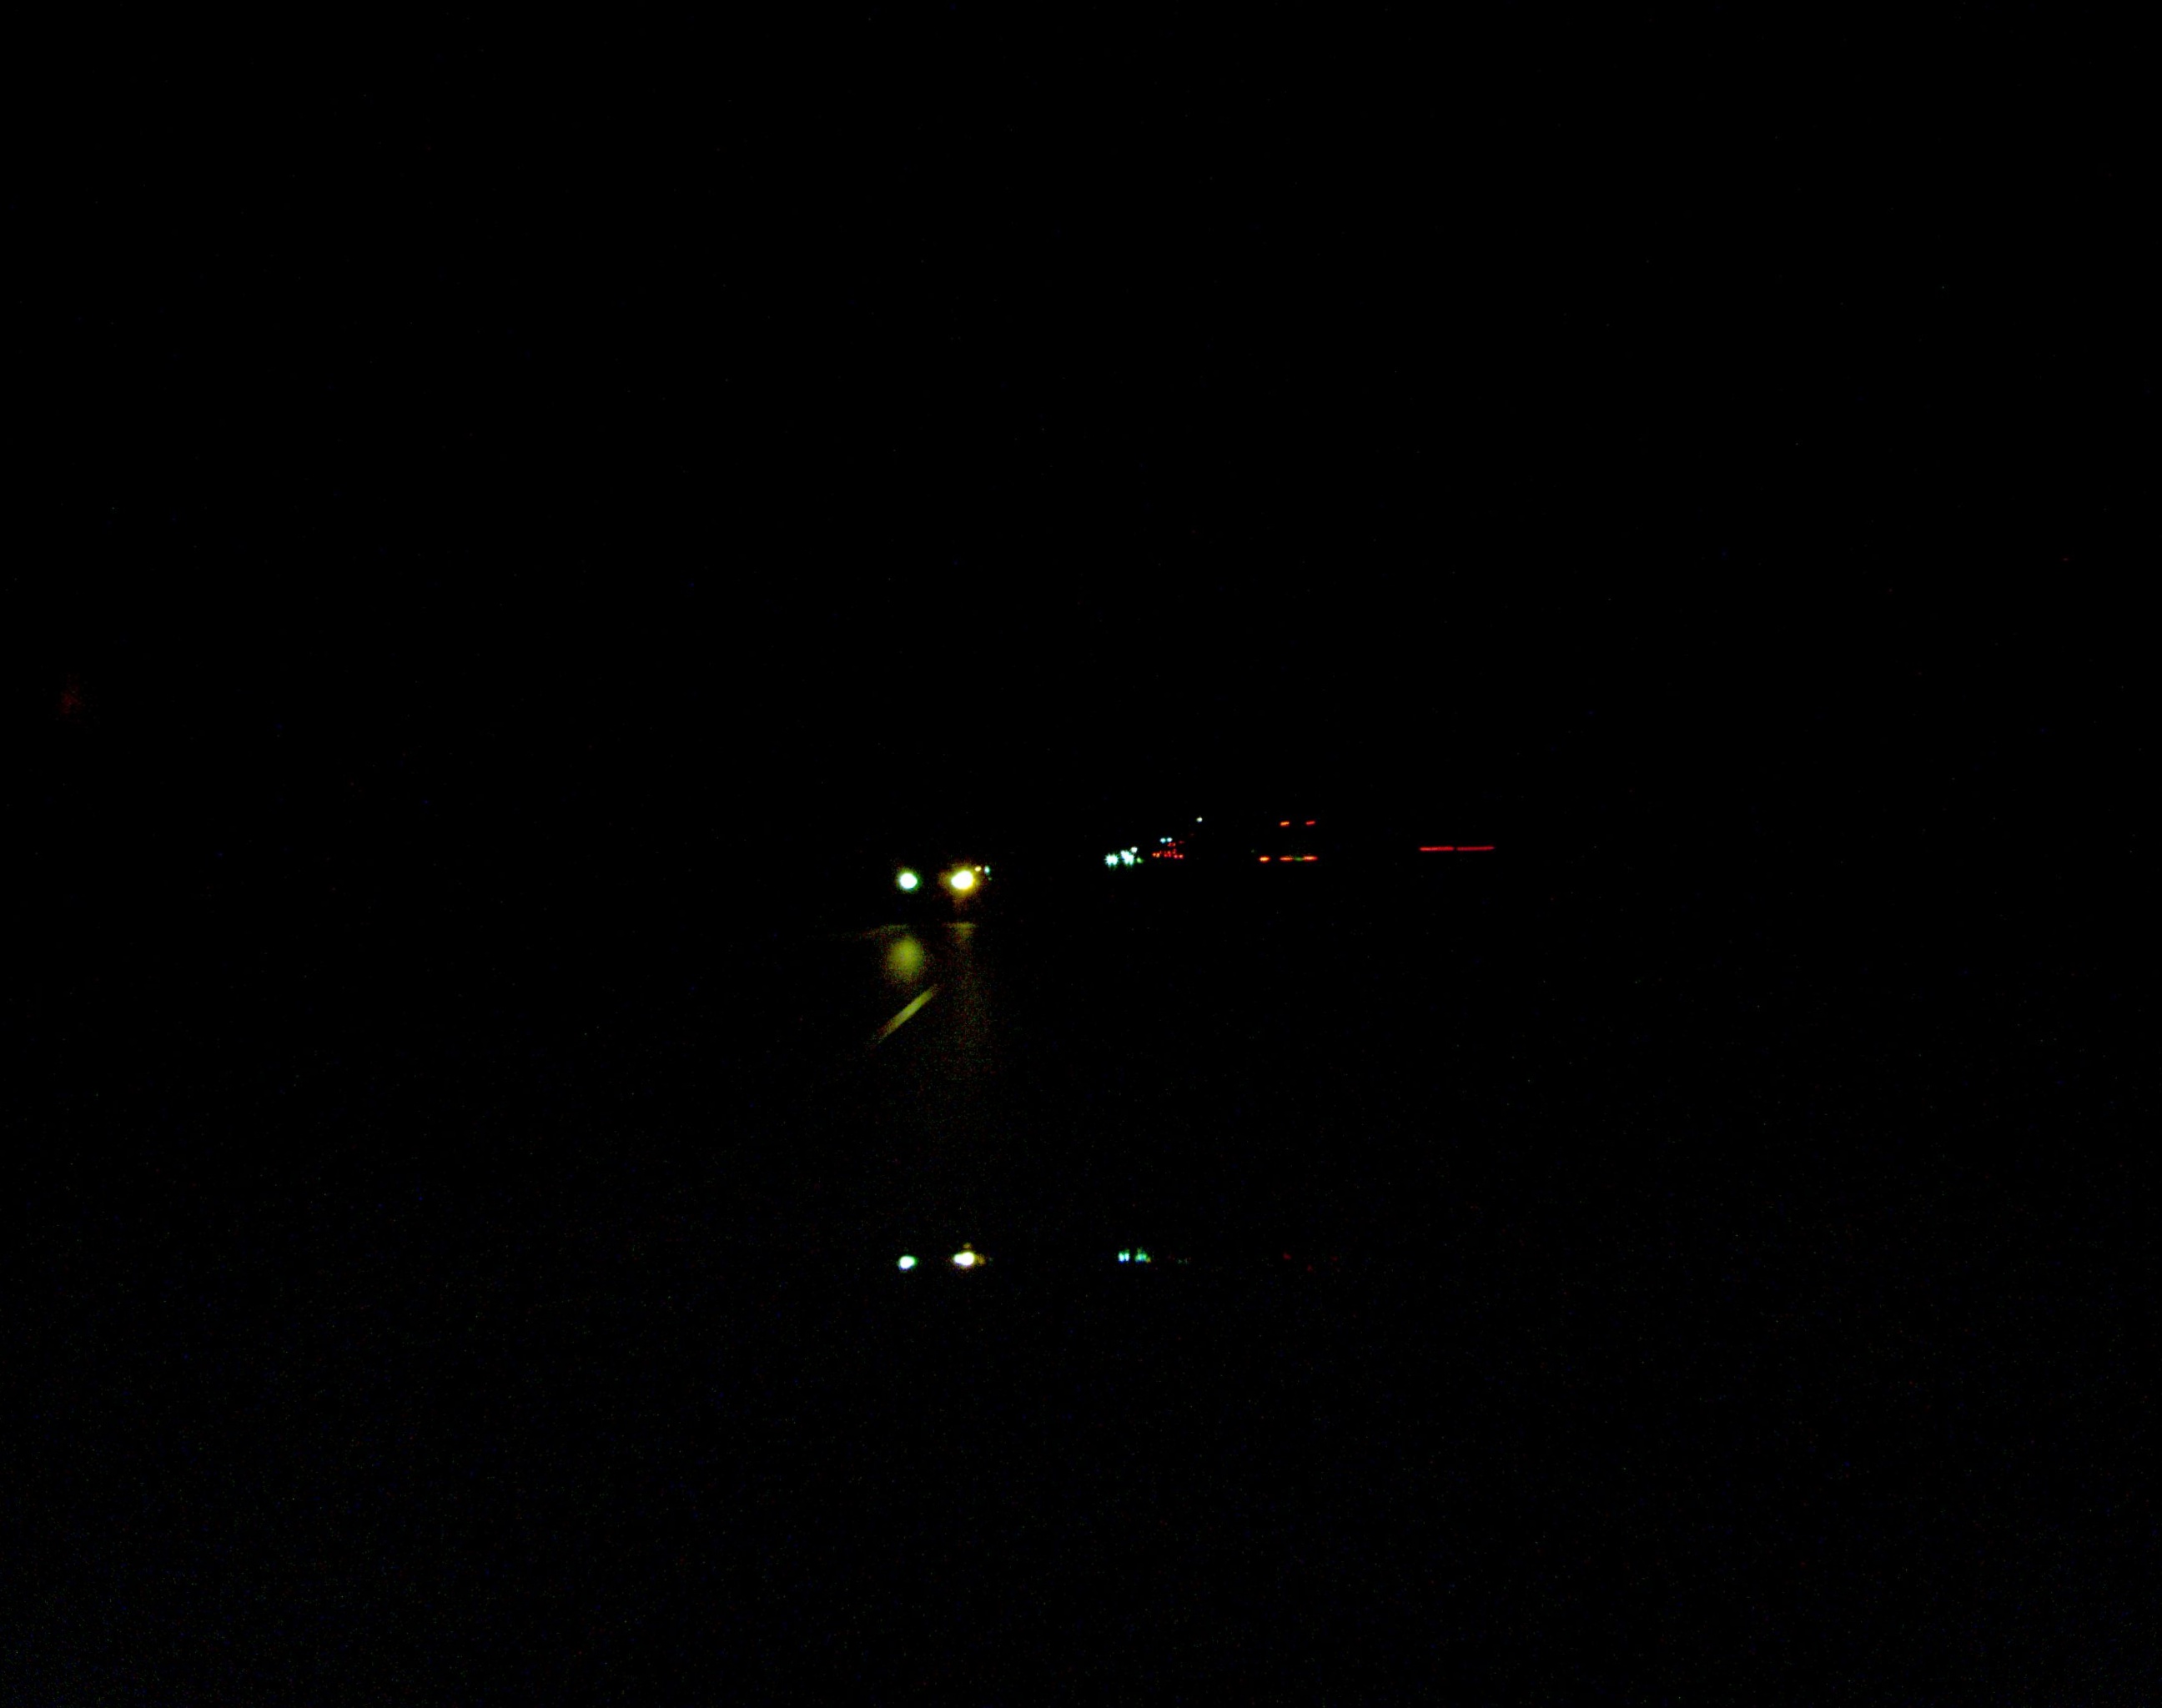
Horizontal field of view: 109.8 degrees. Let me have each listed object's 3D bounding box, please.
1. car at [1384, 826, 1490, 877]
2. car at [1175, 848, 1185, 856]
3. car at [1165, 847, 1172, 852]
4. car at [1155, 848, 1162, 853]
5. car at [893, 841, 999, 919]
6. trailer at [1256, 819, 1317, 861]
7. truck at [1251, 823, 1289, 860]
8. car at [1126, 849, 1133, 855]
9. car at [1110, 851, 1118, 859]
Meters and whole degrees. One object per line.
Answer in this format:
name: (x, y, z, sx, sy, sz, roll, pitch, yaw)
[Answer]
car: (16.041, -0.127, 34.701, 2.249, 2.089, 5.715, -2, 0, 2)
car: (24.096, -0.476, 184.395, 2.015, 1.660, 4.949, -2, 0, 4)
car: (27.574, -1.433, 239.599, 2.015, 1.459, 4.208, -2, 0, 2)
car: (25.551, -1.213, 250.003, 2.015, 1.660, 4.484, -2, 0, 4)
car: (-3.836, 0.655, 22.717, 2.121, 1.989, 5.663, -2, 1, 0)
trailer: (21.263, -1.350, 79.750, 2.861, 3.957, 13.886, -2, 0, 1)
truck: (21.442, -1.379, 86.549, 2.861, 3.957, 5.860, -2, 0, 1)
car: (15.899, -0.544, 247.155, 1.998, 1.735, 3.998, -2, 2, 0)
car: (8.878, 0.264, 206.721, 1.998, 1.762, 3.998, -2, 2, 0)
